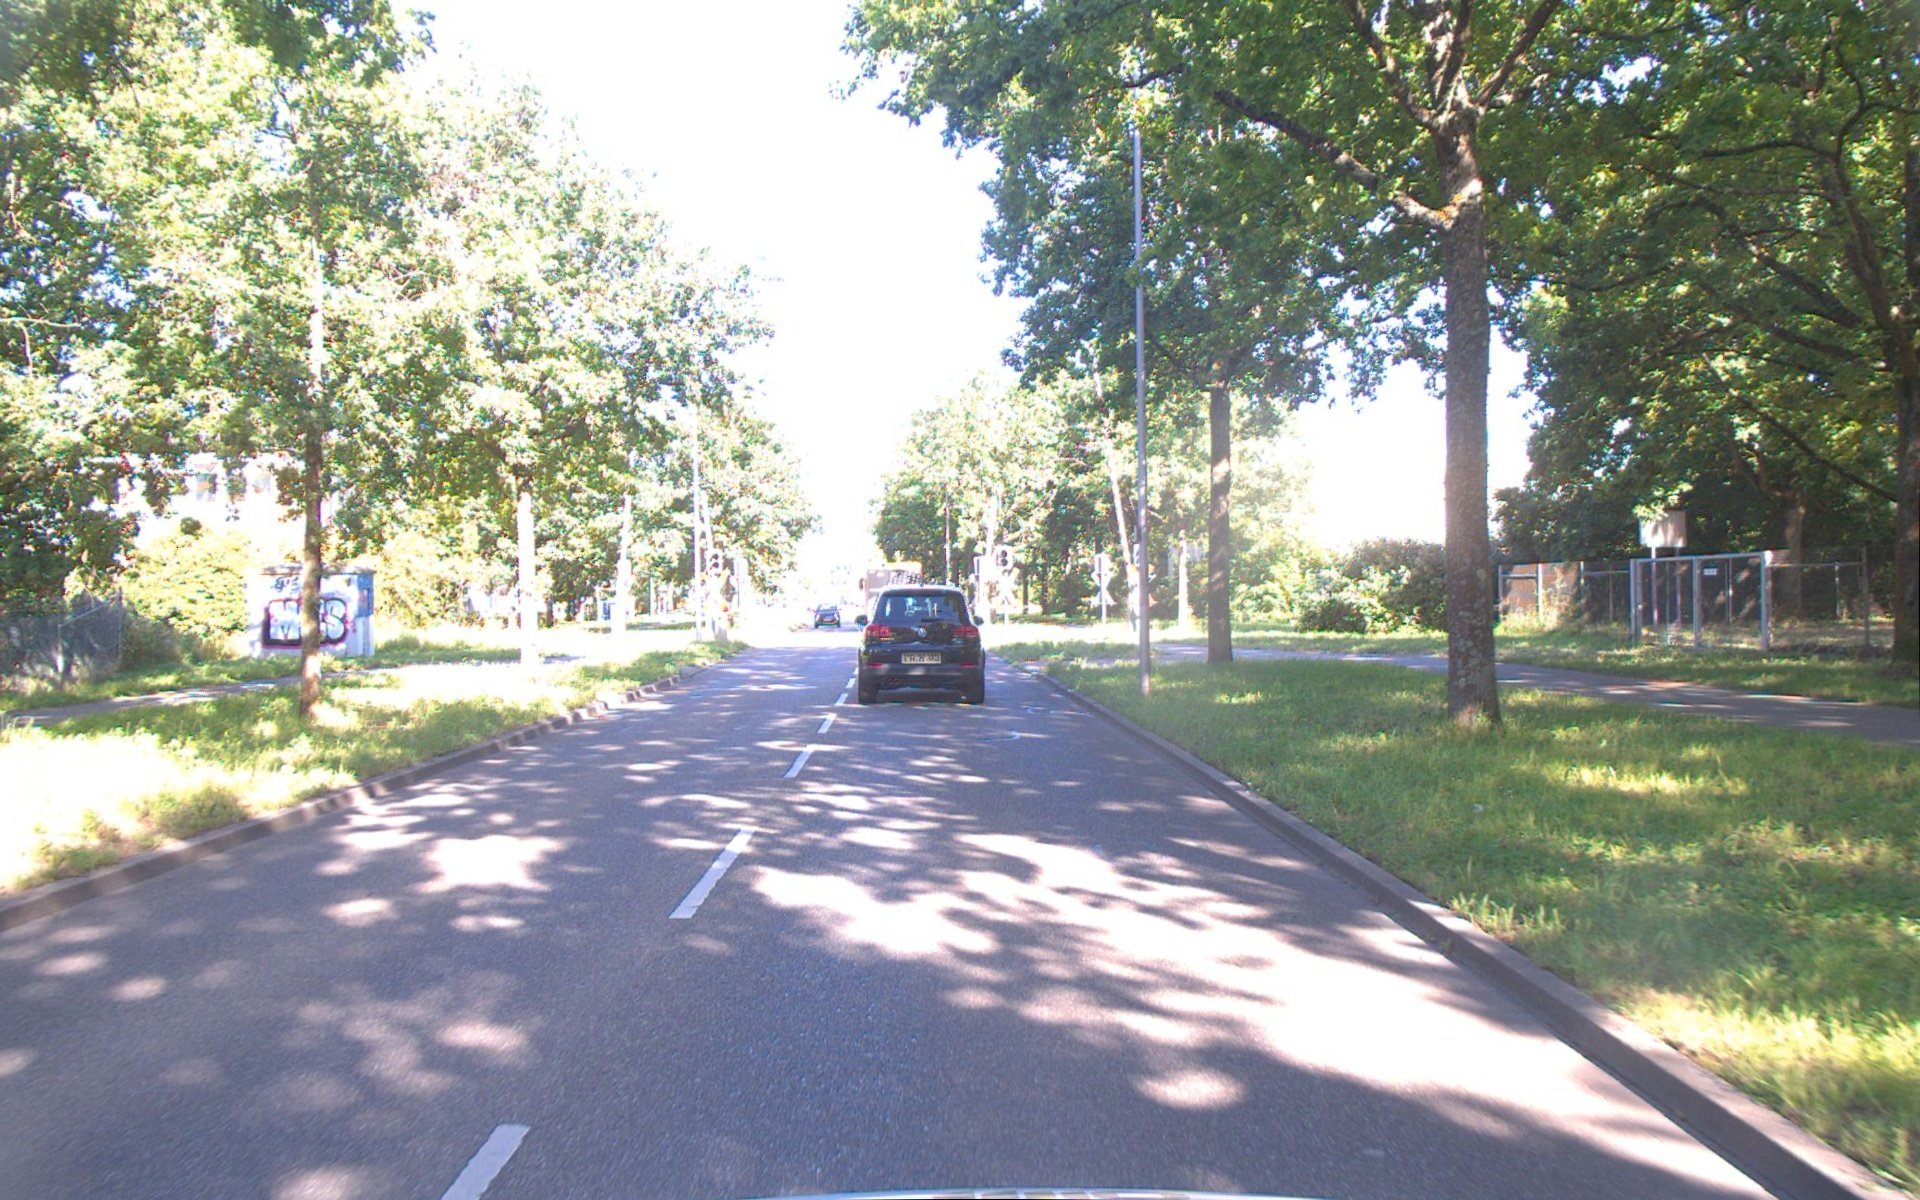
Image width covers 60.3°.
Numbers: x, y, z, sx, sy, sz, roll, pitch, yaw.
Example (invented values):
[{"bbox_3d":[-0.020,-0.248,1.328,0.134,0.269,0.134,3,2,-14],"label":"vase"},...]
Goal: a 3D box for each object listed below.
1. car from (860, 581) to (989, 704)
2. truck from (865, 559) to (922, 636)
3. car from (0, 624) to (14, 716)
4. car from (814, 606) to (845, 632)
[{"bbox_3d":[-0.538,0.582,24.621,1.746,1.662,3.999,1,0,-2],"label":"car"},{"bbox_3d":[-3.031,-0.120,76.279,2.461,3.300,8.149,-1,0,-2],"label":"truck"},{"bbox_3d":[-21.278,1.391,32.561,4.109,1.833,1.998,1,0,-6],"label":"car"},{"bbox_3d":[-8.048,1.155,102.334,1.533,1.531,4.000,1,0,0],"label":"car"}]
